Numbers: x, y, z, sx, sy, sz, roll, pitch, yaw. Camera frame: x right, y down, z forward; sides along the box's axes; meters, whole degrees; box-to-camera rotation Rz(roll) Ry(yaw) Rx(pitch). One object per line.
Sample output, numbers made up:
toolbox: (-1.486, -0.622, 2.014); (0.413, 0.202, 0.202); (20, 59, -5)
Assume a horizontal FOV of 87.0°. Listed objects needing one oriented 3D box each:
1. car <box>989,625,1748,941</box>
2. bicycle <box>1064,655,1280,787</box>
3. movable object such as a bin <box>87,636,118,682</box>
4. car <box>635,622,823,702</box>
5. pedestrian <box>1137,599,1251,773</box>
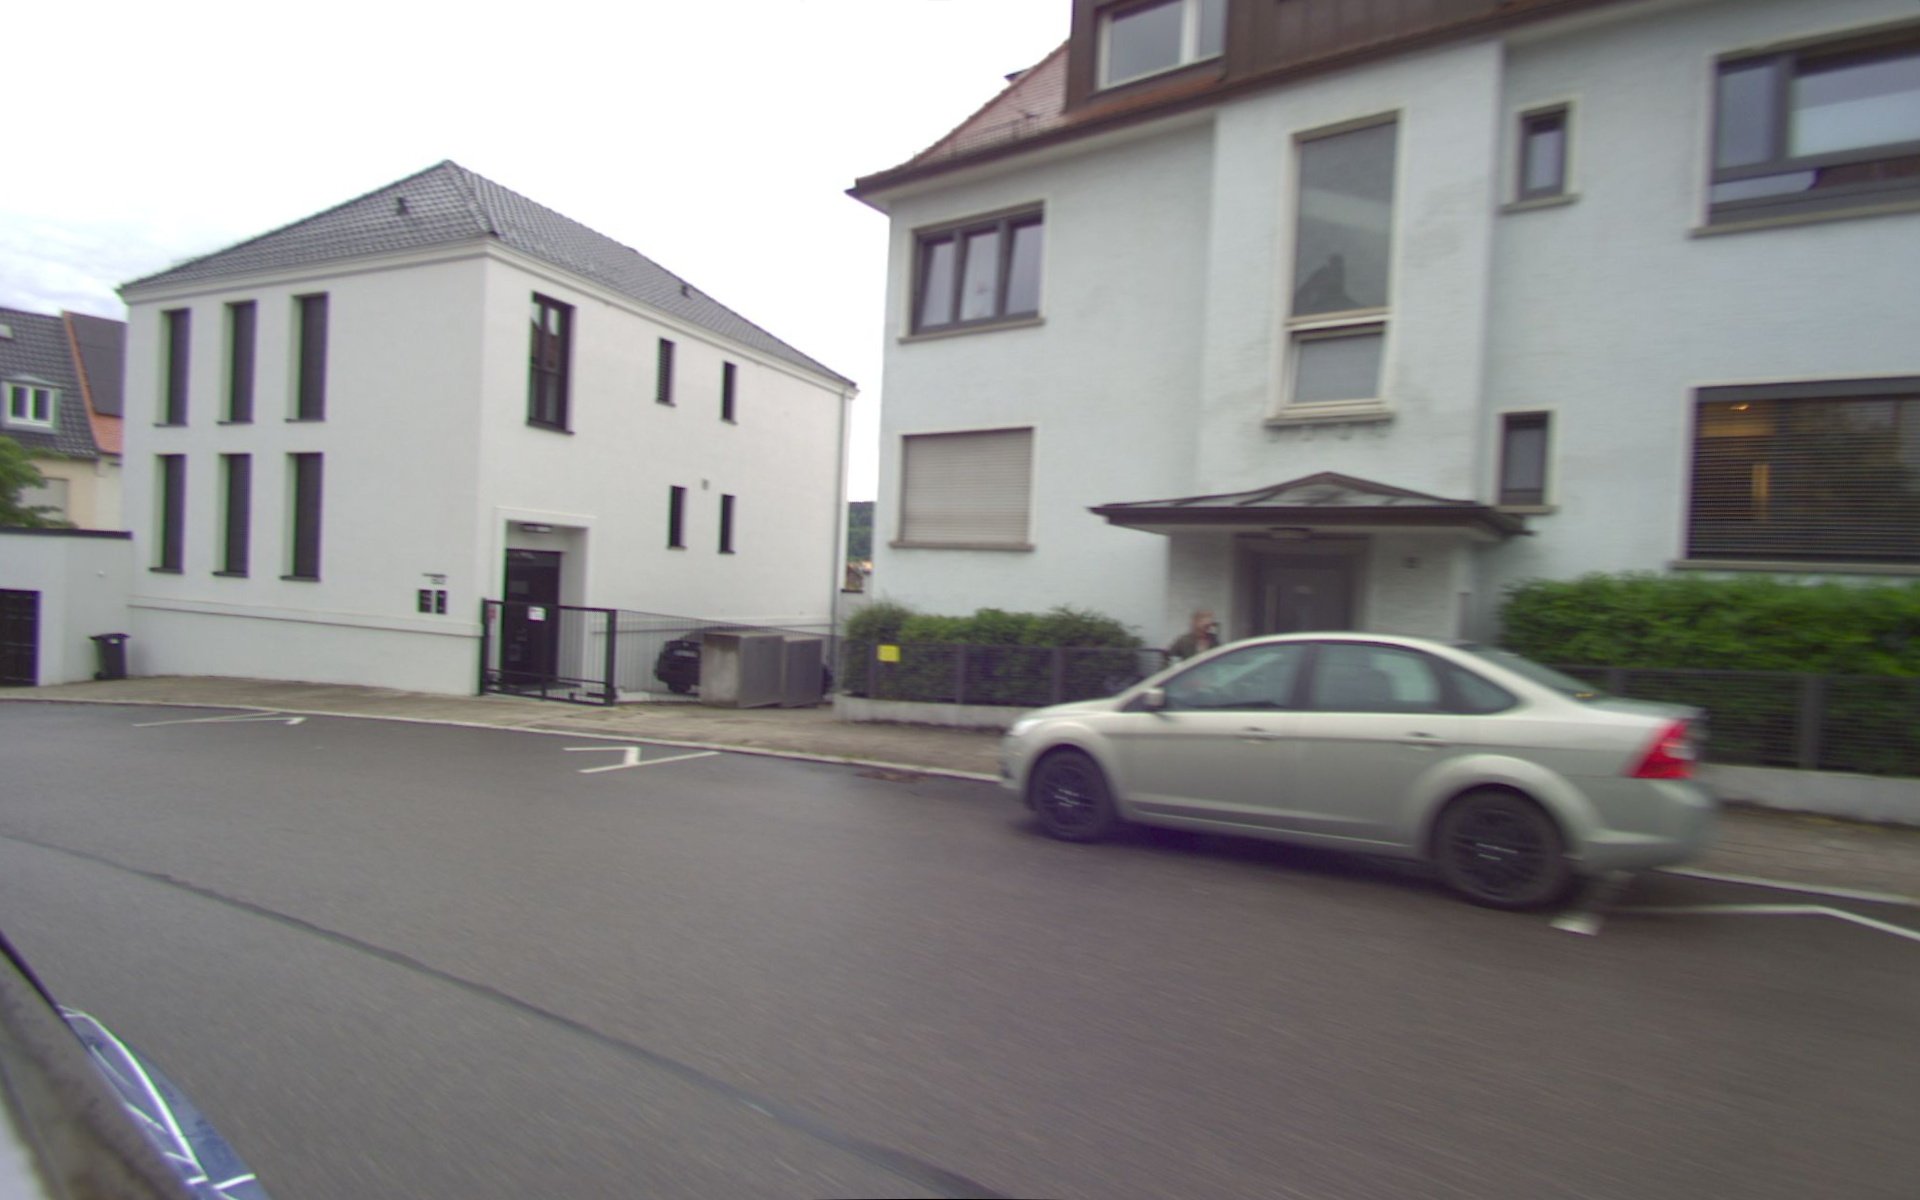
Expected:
car: (2.440, 0.899, 6.663); (4.220, 1.436, 1.820); (-1, -2, 36)
bicycle: (1.925, 1.071, 9.348); (1.915, 1.075, 0.452); (-1, -1, 32)
movable object such as a bin: (-17.211, 1.174, 20.305); (0.281, 0.920, 0.368); (-1, -2, 22)
car: (-4.631, 1.338, 20.922); (1.731, 1.363, 3.969); (2, -5, 23)
pedestrian: (2.239, 0.788, 9.707); (0.944, 1.589, 0.489); (-1, -1, 32)
